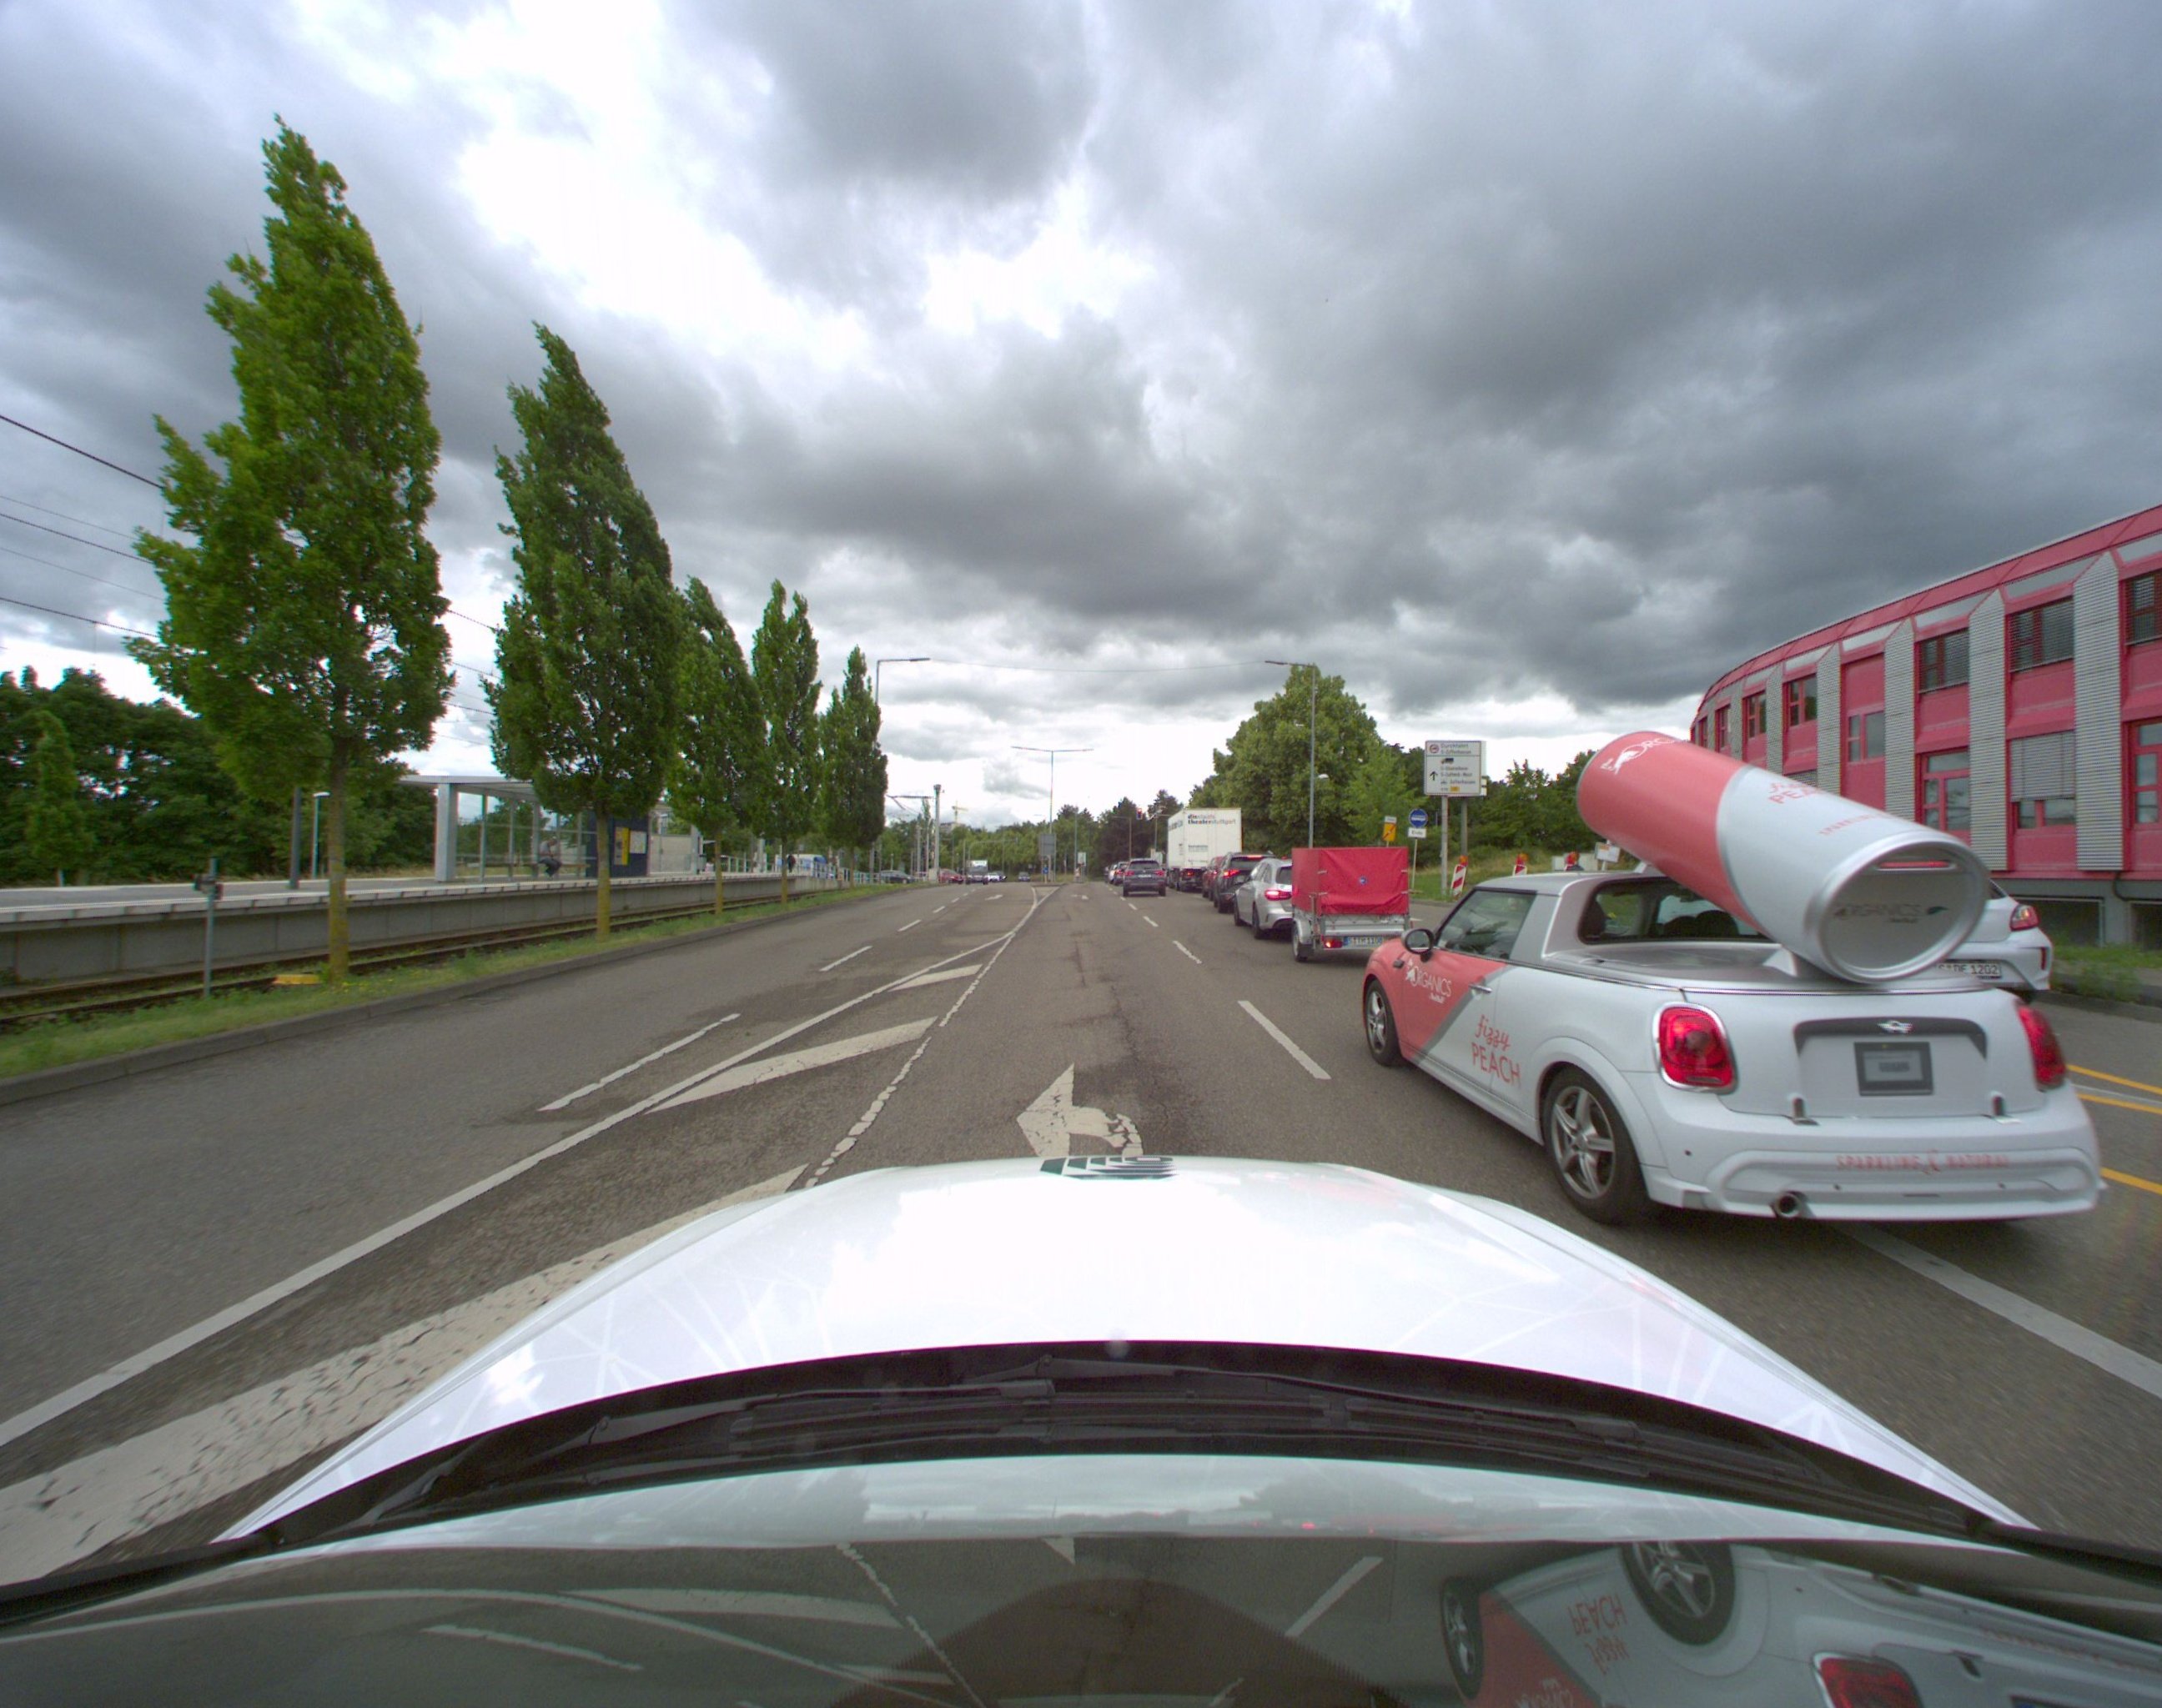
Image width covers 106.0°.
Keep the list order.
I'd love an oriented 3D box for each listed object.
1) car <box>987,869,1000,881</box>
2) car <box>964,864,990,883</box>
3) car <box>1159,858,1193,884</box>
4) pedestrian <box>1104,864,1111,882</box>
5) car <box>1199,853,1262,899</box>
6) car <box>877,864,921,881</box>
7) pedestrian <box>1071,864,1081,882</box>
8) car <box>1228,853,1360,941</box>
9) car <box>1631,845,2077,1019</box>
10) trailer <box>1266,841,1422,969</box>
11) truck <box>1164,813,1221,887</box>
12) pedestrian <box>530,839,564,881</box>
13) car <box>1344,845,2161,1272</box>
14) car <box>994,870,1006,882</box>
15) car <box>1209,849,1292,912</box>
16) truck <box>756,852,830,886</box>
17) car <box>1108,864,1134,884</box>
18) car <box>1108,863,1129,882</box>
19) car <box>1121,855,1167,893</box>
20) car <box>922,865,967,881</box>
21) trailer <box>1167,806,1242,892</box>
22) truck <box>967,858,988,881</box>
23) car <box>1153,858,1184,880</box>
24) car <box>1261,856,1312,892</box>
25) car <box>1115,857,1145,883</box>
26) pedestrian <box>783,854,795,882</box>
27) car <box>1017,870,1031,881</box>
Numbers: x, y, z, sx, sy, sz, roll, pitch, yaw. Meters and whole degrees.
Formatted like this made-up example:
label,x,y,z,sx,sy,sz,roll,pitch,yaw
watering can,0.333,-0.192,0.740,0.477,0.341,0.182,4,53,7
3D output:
label,x,y,z,sx,sy,sz,roll,pitch,yaw
car,-13.083,3.144,122.389,1.772,1.508,3.742,-2,0,-4
car,-9.061,1.696,70.670,1.729,1.574,3.687,-1,-2,-16
car,5.747,1.004,49.701,1.804,1.354,4.122,-1,2,3
pedestrian,2.438,1.700,74.461,0.585,1.621,0.423,-1,1,-2
car,5.318,0.754,29.422,1.700,1.524,4.323,-1,-1,4
car,-18.910,1.934,84.575,3.963,1.596,2.005,-1,1,9
pedestrian,-0.438,1.728,72.691,0.861,1.560,0.518,-1,1,-2
car,3.945,0.724,15.775,1.664,1.447,4.494,-1,0,4
car,7.805,0.676,8.780,1.614,1.457,3.696,0,-1,7
trailer,3.675,0.646,11.881,1.403,1.594,3.307,-1,0,4
truck,5.865,-0.198,43.326,2.562,3.705,4.107,-1,0,1
pedestrian,-16.784,0.173,25.592,0.609,1.269,0.659,-1,2,-5
car,2.930,0.716,4.661,1.712,1.457,3.697,-1,0,1
car,-13.081,3.589,131.892,1.913,1.728,3.991,-1,-5,-5
car,4.637,0.672,22.843,1.835,1.561,4.412,-1,0,6
truck,-32.249,1.624,91.304,7.202,3.598,2.697,-1,1,6
car,2.987,1.502,61.587,1.716,1.422,4.356,-1,-2,0
car,3.037,1.554,66.464,1.530,1.504,2.669,-1,-2,0
car,2.553,0.814,33.812,1.692,1.486,4.001,-1,-1,2
car,-13.529,1.884,80.966,4.043,1.488,1.715,-1,0,15
trailer,5.779,-0.219,39.350,2.556,3.705,7.765,-1,0,1
truck,-16.981,2.535,133.474,2.661,3.649,9.464,1,-2,-11
car,6.002,1.029,56.184,1.818,1.435,4.213,-1,-1,1
car,9.530,0.895,37.940,1.565,1.571,3.058,1,0,0
car,3.120,1.022,52.527,1.792,1.523,4.190,-2,0,2
pedestrian,-19.595,0.935,54.619,0.571,1.828,0.792,0,-2,-3
car,-8.785,3.272,125.508,1.914,1.576,3.991,-2,0,-7
